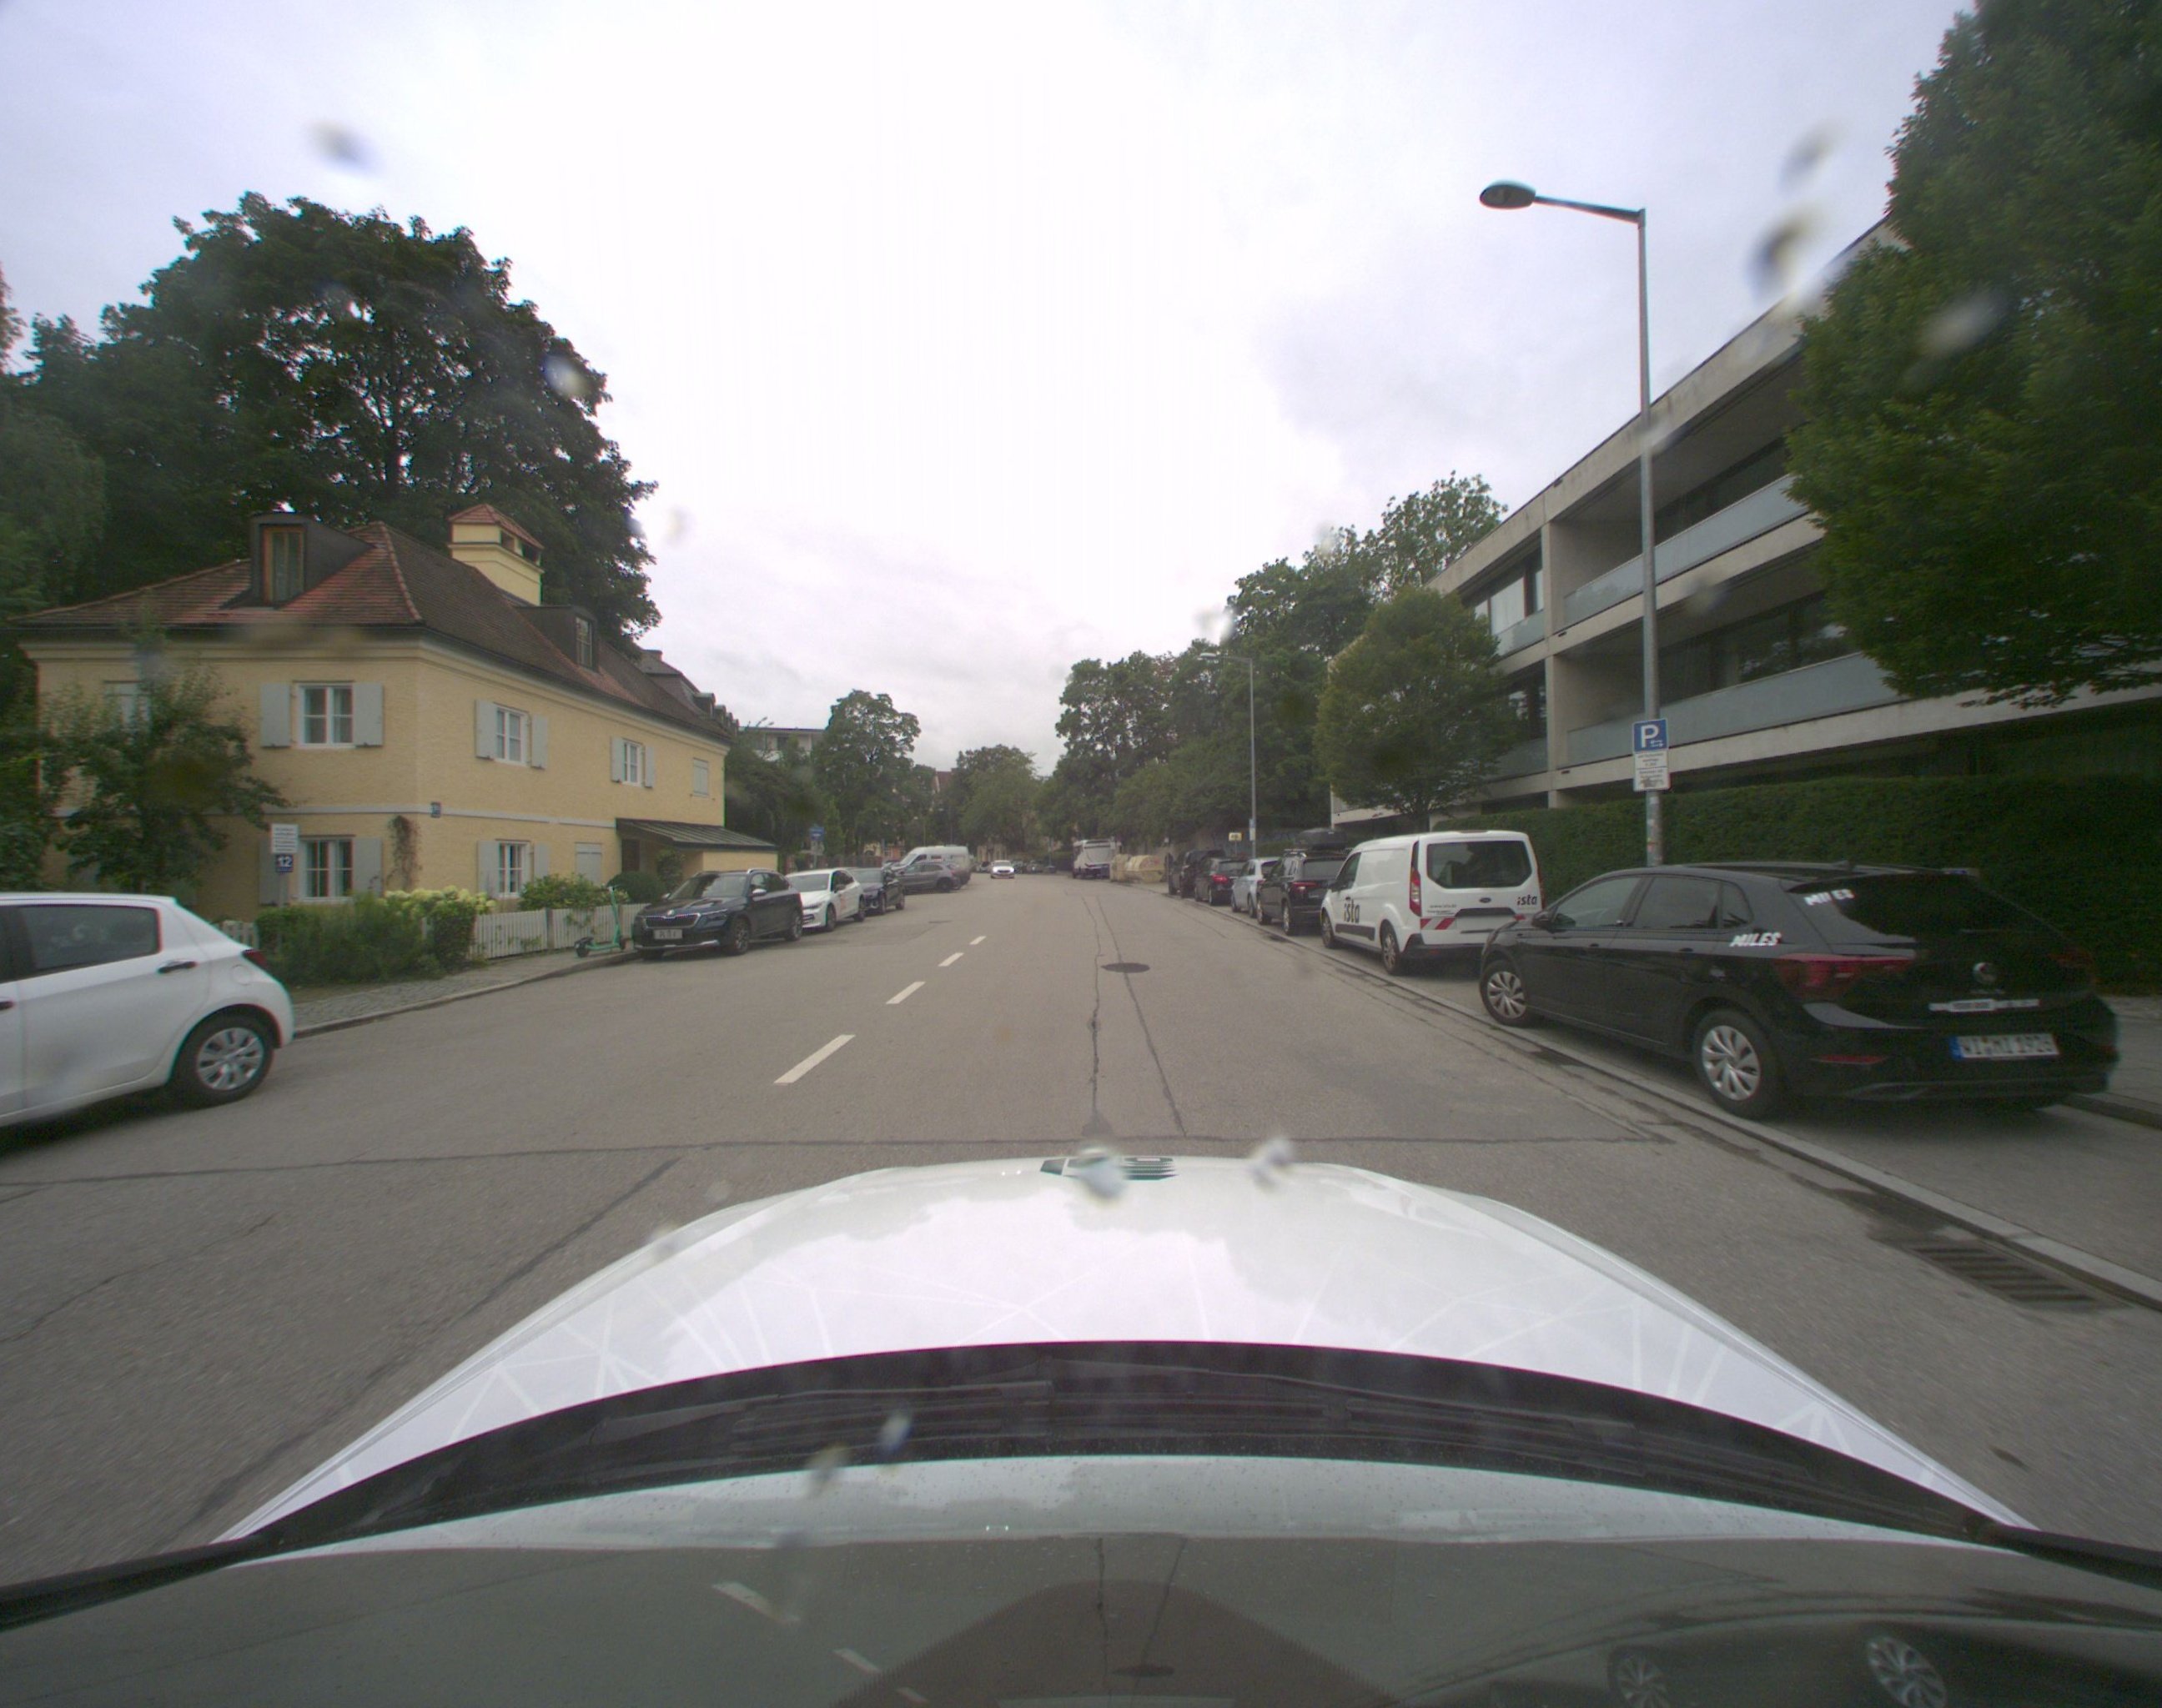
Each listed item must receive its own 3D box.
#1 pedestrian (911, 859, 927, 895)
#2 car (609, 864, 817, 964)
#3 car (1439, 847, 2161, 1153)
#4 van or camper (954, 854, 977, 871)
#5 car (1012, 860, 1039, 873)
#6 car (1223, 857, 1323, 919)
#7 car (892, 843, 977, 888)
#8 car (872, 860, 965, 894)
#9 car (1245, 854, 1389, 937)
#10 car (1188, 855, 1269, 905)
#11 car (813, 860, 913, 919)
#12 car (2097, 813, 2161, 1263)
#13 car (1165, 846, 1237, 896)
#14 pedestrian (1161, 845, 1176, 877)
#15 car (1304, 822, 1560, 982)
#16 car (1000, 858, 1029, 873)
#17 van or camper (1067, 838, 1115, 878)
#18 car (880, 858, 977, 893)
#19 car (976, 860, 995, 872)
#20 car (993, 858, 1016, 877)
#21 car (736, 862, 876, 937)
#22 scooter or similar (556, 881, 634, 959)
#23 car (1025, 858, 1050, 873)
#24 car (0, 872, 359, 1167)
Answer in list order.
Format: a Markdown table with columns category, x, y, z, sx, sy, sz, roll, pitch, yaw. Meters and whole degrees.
| category | x | y | z | sx | sy | sz | roll | pitch | yaw |
| --- | --- | --- | --- | --- | --- | --- | --- | --- | --- |
| pedestrian | -7.710 | 1.081 | 38.716 | 0.589 | 1.647 | 0.712 | -3 | 1 | -8 |
| car | -6.786 | 1.014 | 15.638 | 1.839 | 1.535 | 4.441 | -3 | -1 | 1 |
| car | 4.502 | 0.721 | 6.142 | 1.742 | 1.464 | 4.242 | -2 | 0 | 0 |
| van or camper | -17.478 | 1.309 | 123.373 | 2.200 | 2.550 | 5.688 | -2 | 0 | -21 |
| car | -6.382 | 1.458 | 93.546 | 1.885 | 1.427 | 4.190 | -2 | 0 | -23 |
| car | 5.018 | 0.831 | 21.788 | 1.742 | 1.480 | 3.887 | -1 | 0 | 0 |
| car | -9.090 | 0.674 | 50.714 | 4.655 | 2.563 | 2.211 | -2 | 0 | -34 |
| car | -7.958 | 1.104 | 39.858 | 4.336 | 1.530 | 1.924 | -1 | -2 | -14 |
| car | 4.780 | 0.756 | 17.173 | 1.742 | 1.480 | 4.598 | 0 | 0 | 0 |
| car | 4.859 | 0.805 | 27.509 | 1.743 | 1.539 | 4.566 | -1 | 0 | -2 |
| car | -6.656 | 1.031 | 25.377 | 1.840 | 1.535 | 4.560 | -3 | 0 | -1 |
| car | 4.494 | 0.593 | 0.802 | 1.721 | 1.529 | 4.204 | -3 | 0 | 0 |
| car | 4.749 | 0.684 | 32.878 | 1.983 | 1.871 | 5.073 | 0 | -1 | -2 |
| pedestrian | 5.572 | 0.441 | 51.948 | 0.797 | 1.985 | 0.627 | -1 | -1 | -15 |
| car | 4.796 | 0.562 | 12.021 | 1.815 | 1.860 | 4.900 | 0 | 0 | 2 |
| car | -8.029 | 1.365 | 97.856 | 2.002 | 1.711 | 4.847 | -2 | 0 | -23 |
| van or camper | 0.686 | 0.322 | 64.095 | 2.274 | 2.906 | 7.248 | -1 | 0 | -11 |
| car | -7.964 | 1.101 | 42.623 | 4.545 | 1.594 | 1.945 | -2 | 0 | -34 |
| car | -13.119 | 1.699 | 111.570 | 1.713 | 1.537 | 4.212 | -3 | 0 | -19 |
| car | -6.159 | 1.102 | 65.758 | 1.770 | 1.475 | 4.125 | -1 | 0 | -6 |
| car | -6.712 | 1.048 | 20.458 | 1.839 | 1.535 | 4.521 | -3 | 0 | 1 |
| scooter or similar | -8.123 | 1.075 | 13.668 | 0.451 | 1.188 | 1.371 | 1 | 0 | 1 |
| car | -4.819 | 1.283 | 89.744 | 1.746 | 1.536 | 2.924 | -2 | -1 | -23 |
| car | -6.709 | 0.961 | 4.382 | 1.772 | 1.535 | 4.228 | -3 | 0 | 0 |
